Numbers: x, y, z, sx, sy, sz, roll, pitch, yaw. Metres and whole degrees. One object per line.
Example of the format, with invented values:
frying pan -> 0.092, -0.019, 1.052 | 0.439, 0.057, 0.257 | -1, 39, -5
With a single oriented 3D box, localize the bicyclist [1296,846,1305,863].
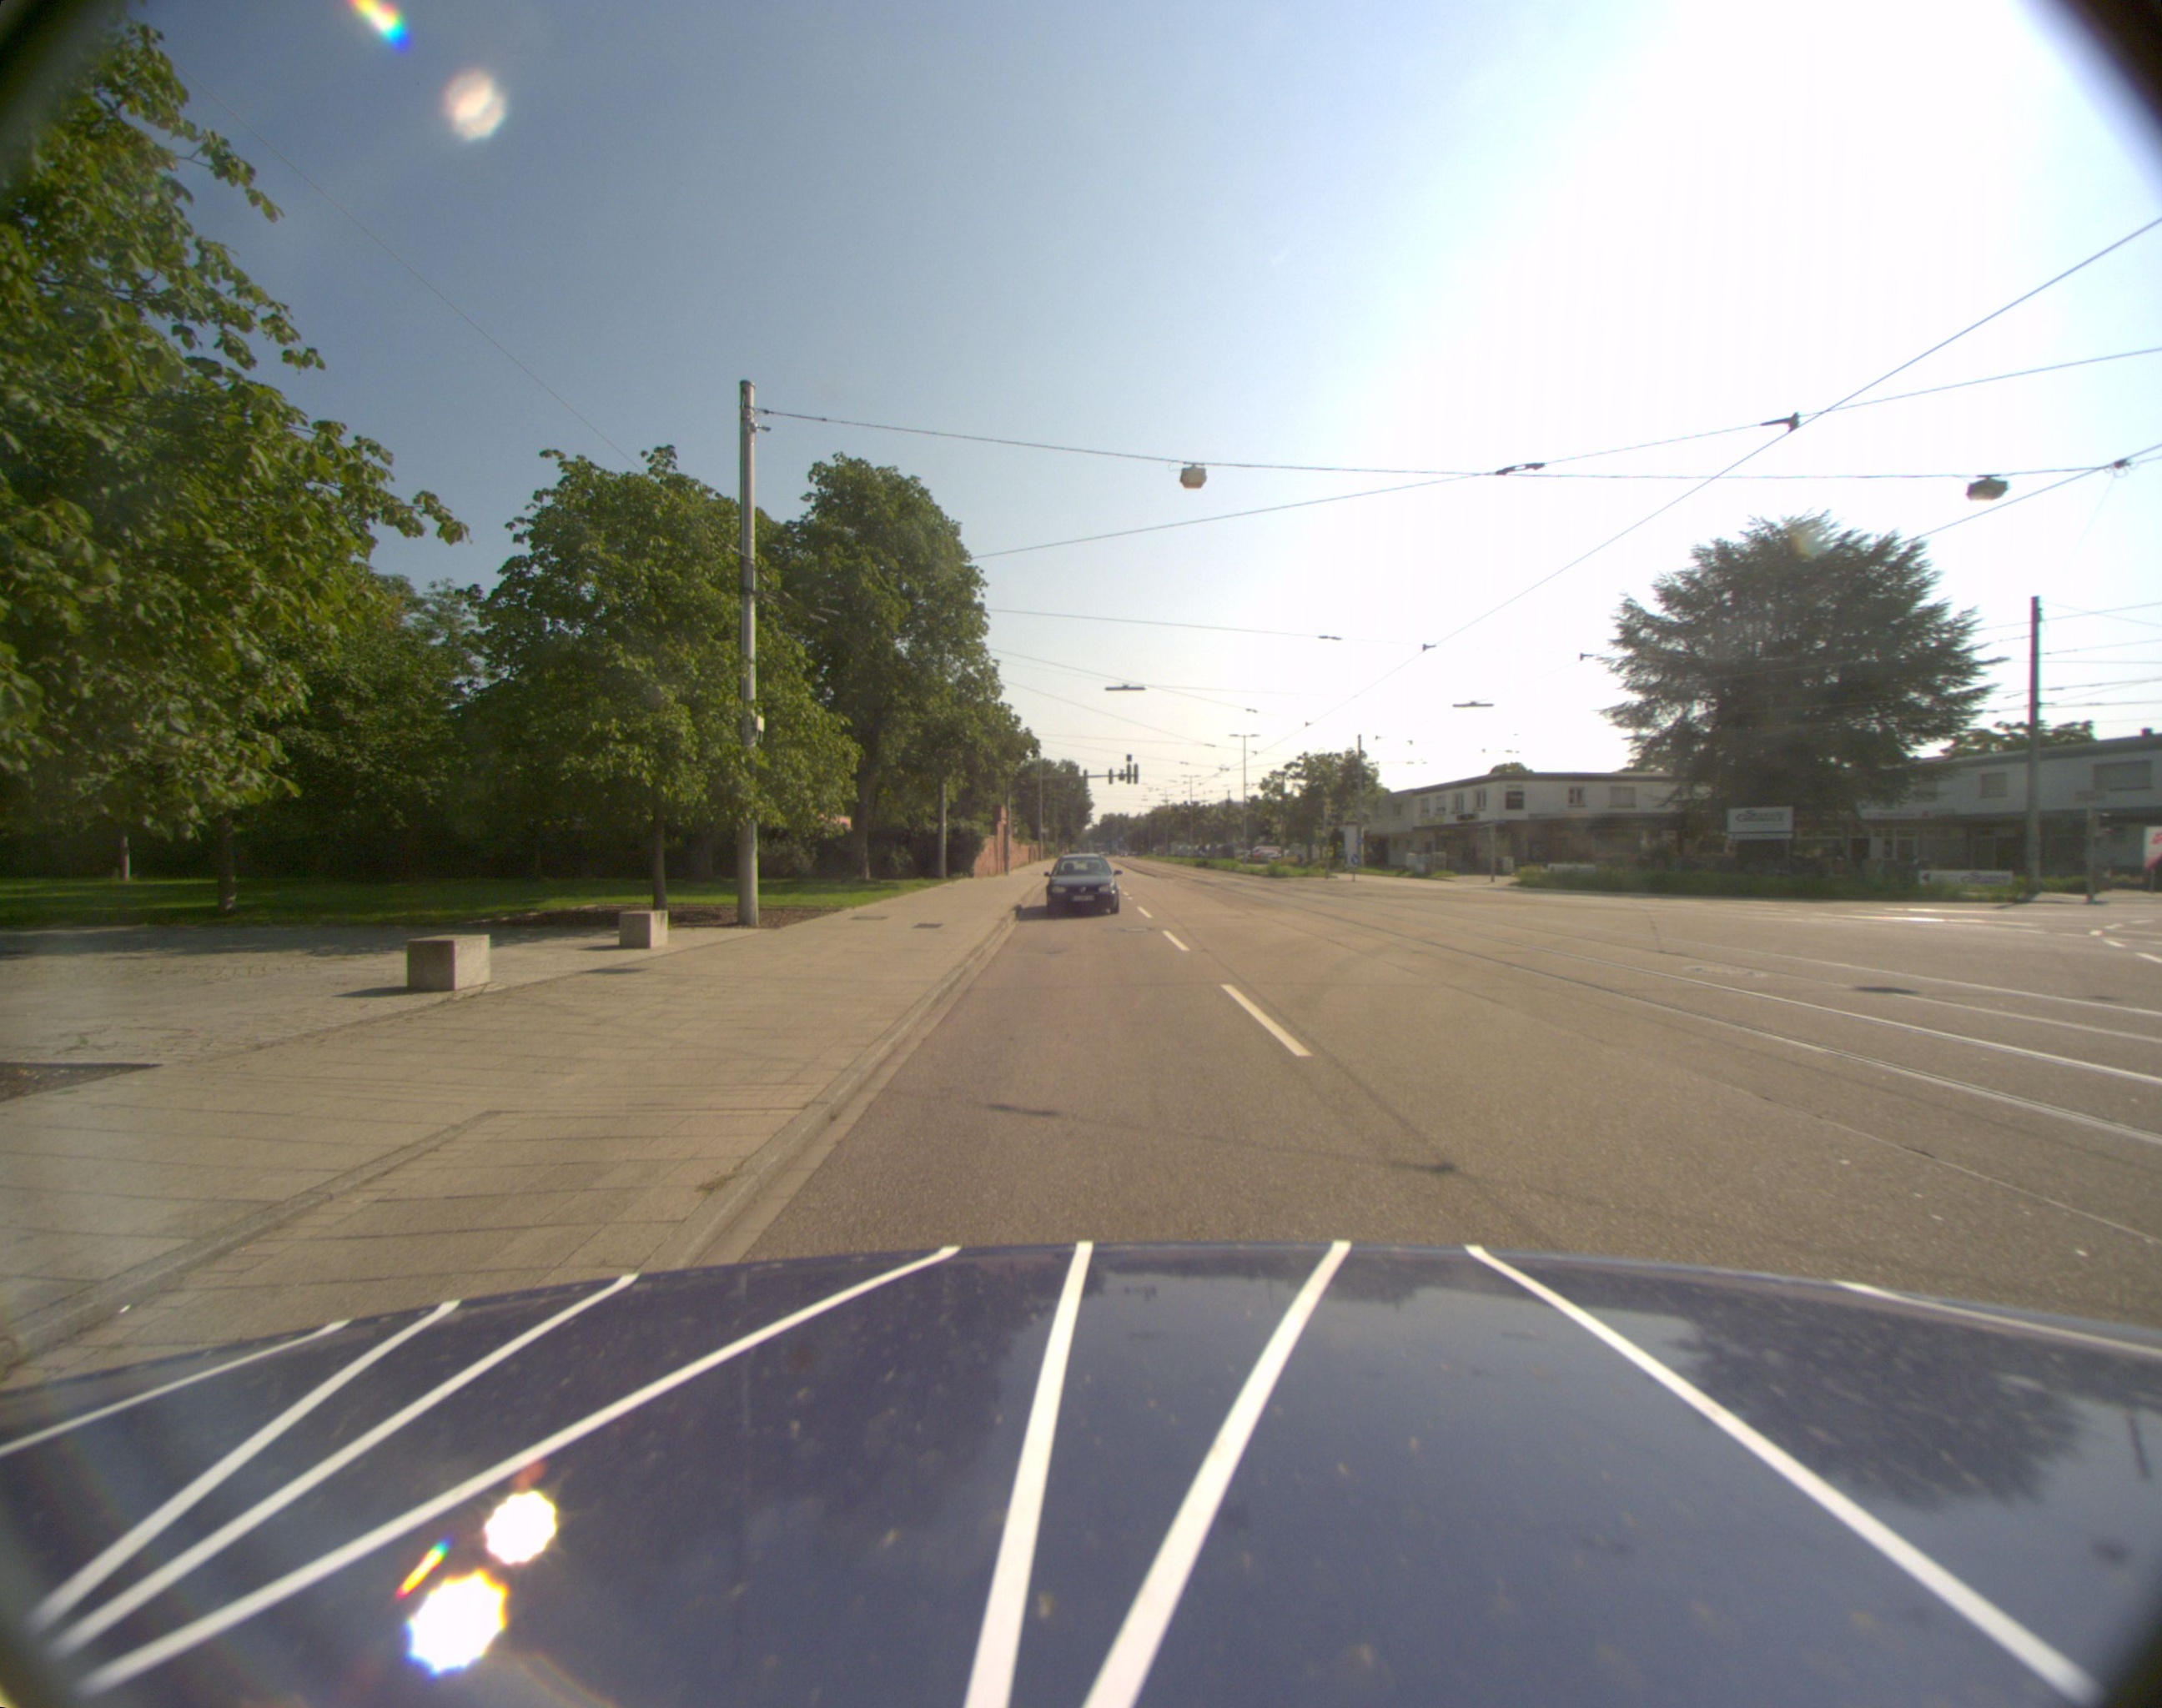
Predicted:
bicyclist -> 19.488, 0.013, 67.443 | 0.569, 1.514, 0.489 | 2, 1, -1

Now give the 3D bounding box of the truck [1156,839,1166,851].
truck -> 21.696, -2.400, 206.397 | 2.278, 3.104, 8.787 | 2, 1, 3

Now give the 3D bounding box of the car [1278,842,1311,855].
car -> 31.245, -0.818, 111.207 | 4.410, 1.774, 1.633 | 2, 1, -1

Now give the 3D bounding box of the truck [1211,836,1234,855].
truck -> 20.235, -1.247, 108.841 | 2.086, 2.533, 5.738 | 2, 1, 0

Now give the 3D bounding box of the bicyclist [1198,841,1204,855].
bicyclist -> 18.279, -0.940, 115.720 | 0.639, 2.052, 0.774 | 2, 1, -3

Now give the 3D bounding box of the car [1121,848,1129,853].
car -> 10.311, -0.836, 179.336 | 1.726, 1.317, 3.999 | 2, 1, 0

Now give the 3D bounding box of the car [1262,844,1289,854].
car -> 31.818, -0.849, 124.301 | 3.933, 1.441, 1.633 | 2, 1, -1

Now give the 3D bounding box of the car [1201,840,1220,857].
car -> 20.180, -0.930, 118.656 | 1.993, 2.571, 6.467 | -1, 1, 3

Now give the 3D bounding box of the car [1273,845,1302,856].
car -> 30.896, -0.599, 113.791 | 3.933, 1.510, 1.633 | 2, 1, -1

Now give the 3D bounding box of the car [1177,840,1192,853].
car -> 20.892, -1.509, 153.755 | 2.148, 2.444, 4.831 | 2, 1, -1

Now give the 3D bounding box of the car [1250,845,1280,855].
car -> 31.350, -0.682, 129.393 | 4.665, 1.441, 1.633 | 2, 1, -1

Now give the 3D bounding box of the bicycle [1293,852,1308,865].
bicycle -> 19.481, 0.417, 67.495 | 0.576, 1.172, 2.208 | 2, -1, -2

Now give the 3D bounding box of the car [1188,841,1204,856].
car -> 20.960, -1.087, 138.963 | 2.137, 2.571, 5.630 | 2, 1, 1

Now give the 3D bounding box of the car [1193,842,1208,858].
car -> 20.555, -0.676, 131.249 | 1.826, 2.571, 5.910 | -1, 0, 2

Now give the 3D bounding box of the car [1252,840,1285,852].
car -> 32.649, -1.415, 132.240 | 5.198, 1.914, 2.052 | 2, 1, -1

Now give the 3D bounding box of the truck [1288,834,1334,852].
truck -> 31.338, -1.493, 103.460 | 5.504, 2.160, 2.259 | 2, 1, -1

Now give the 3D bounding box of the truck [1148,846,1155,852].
truck -> 21.970, -1.509, 236.872 | 1.691, 1.665, 3.655 | 2, 1, 1

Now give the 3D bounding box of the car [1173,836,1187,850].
car -> 21.283, -2.330, 163.195 | 2.129, 2.789, 7.230 | 2, 1, 1

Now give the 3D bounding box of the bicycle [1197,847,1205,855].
bicycle -> 18.253, -0.466, 115.807 | 0.717, 1.085, 2.264 | 2, 1, -2

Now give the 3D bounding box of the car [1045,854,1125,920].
car -> 0.157, 0.748, 19.188 | 1.776, 1.416, 3.935 | -2, 1, 2

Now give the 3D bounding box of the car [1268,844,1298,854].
car -> 31.448, -0.729, 118.390 | 4.170, 1.455, 1.623 | 1, 1, -7
